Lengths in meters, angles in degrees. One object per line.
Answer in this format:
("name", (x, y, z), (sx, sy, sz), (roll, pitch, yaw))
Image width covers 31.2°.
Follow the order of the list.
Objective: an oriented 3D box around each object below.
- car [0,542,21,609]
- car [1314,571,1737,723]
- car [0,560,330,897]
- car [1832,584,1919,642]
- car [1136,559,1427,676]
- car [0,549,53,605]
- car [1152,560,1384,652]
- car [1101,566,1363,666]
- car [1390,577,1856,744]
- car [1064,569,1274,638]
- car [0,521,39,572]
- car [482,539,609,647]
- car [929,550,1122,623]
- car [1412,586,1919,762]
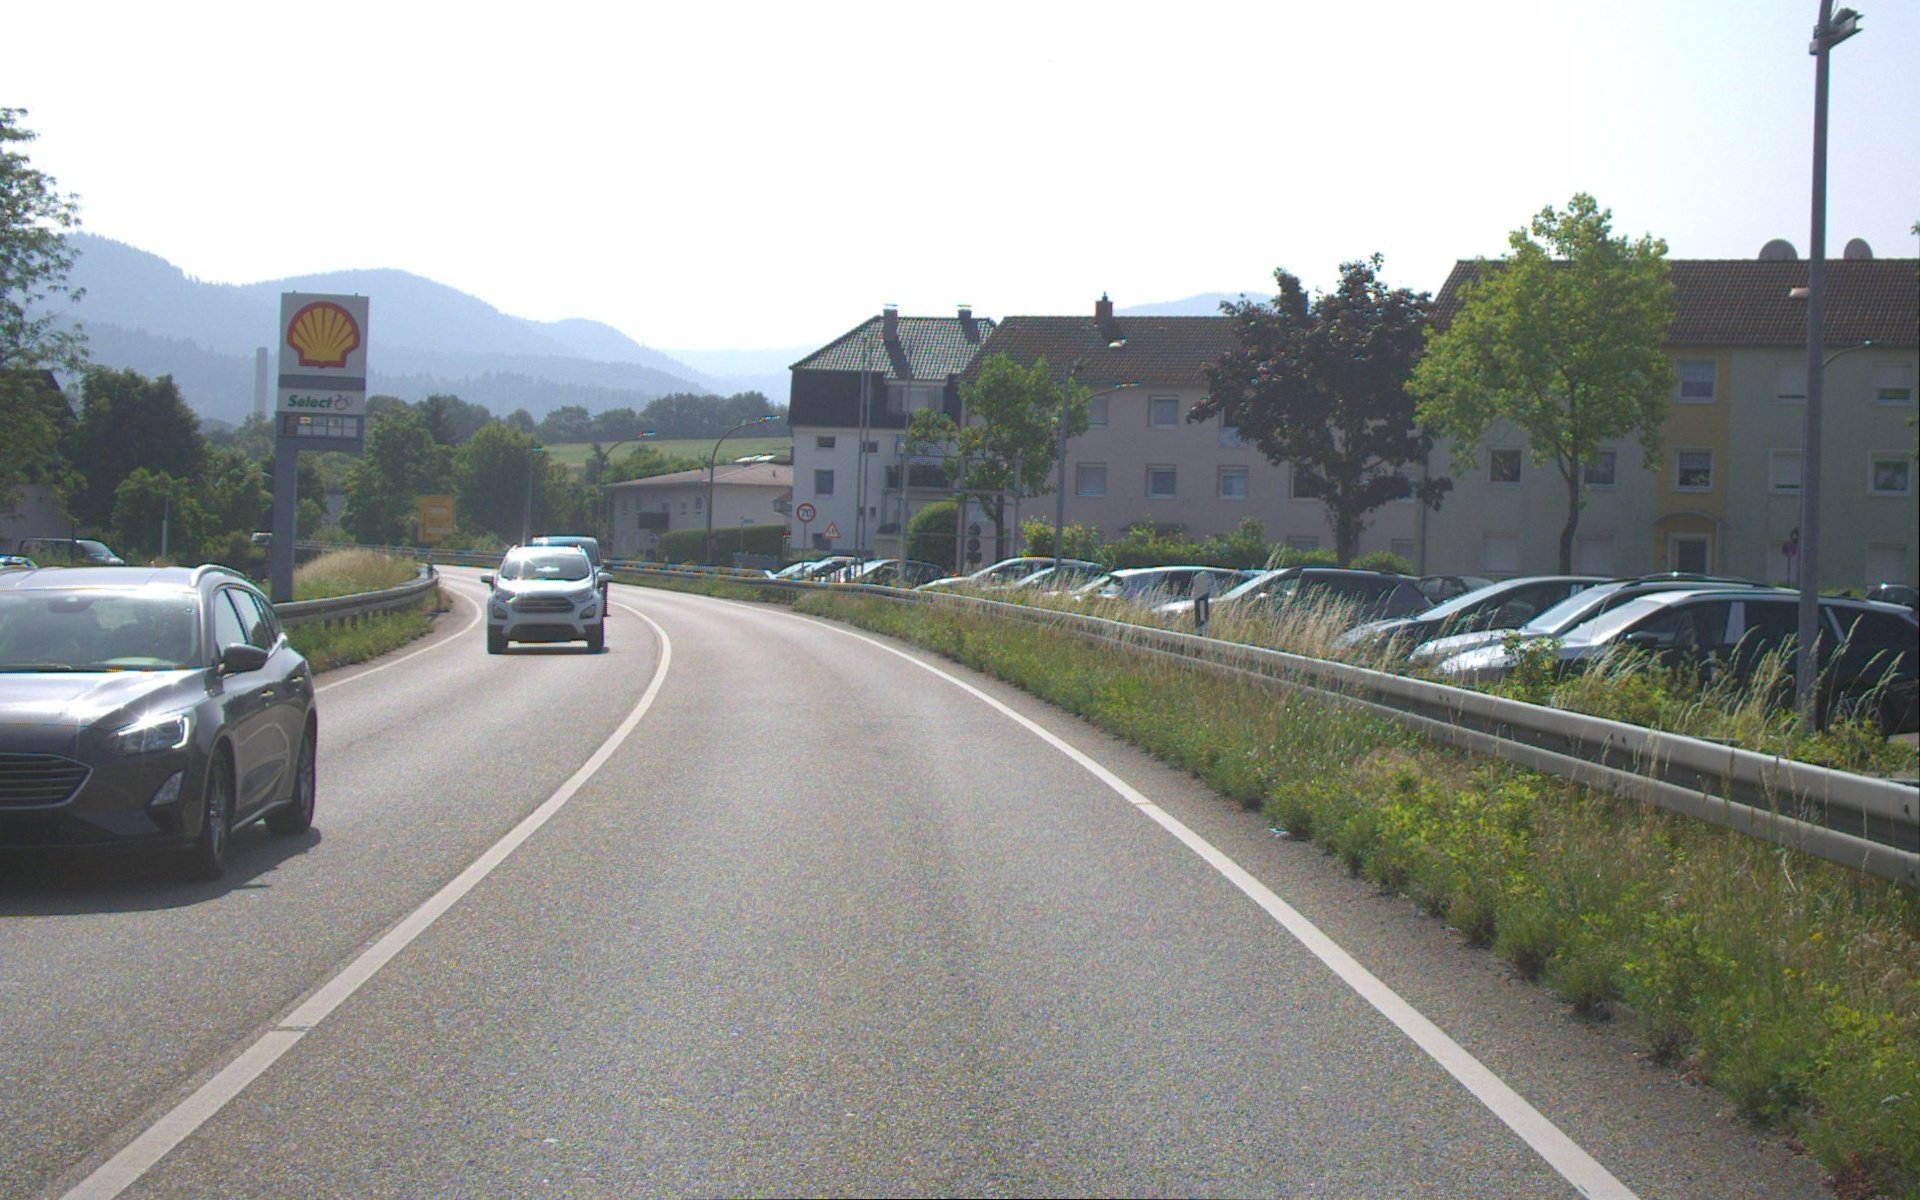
("car", (-25.584, -0.677, 85.077), (4.349, 1.649, 1.933), (2, 0, -11))
("car", (5.974, 0.478, 36.598), (4.159, 1.540, 1.741), (0, 0, -3))
("car", (-4.360, 0.544, 17.259), (1.751, 1.469, 4.287), (0, 1, -2))
("car", (20.211, 0.273, 72.197), (1.589, 1.182, 3.663), (1, 0, -29))
("car", (4.713, 0.246, 50.721), (3.986, 1.634, 1.888), (1, 0, -4))
("car", (-27.499, -0.691, 96.454), (3.746, 1.494, 1.932), (2, 0, -9))
("car", (5.465, 0.101, 61.236), (3.846, 1.562, 1.807), (1, 0, -4))
("car", (4.476, 0.264, 56.840), (3.986, 1.574, 1.779), (1, 0, -9))
("car", (6.428, 0.568, 33.603), (4.159, 1.551, 1.771), (0, 0, -3))
("car", (4.534, 0.070, 74.850), (4.319, 1.439, 1.629), (1, 0, -7))
("car", (-39.189, -2.174, 137.862), (4.902, 2.007, 1.995), (2, 1, 42))
("car", (-6.482, -0.136, 54.054), (1.792, 1.624, 4.228), (0, 1, -4))
("car", (1.501, -0.314, 80.214), (4.318, 1.634, 2.140), (1, 0, -4))
("car", (6.264, 0.638, 30.735), (4.159, 1.485, 1.732), (0, 0, -3))
